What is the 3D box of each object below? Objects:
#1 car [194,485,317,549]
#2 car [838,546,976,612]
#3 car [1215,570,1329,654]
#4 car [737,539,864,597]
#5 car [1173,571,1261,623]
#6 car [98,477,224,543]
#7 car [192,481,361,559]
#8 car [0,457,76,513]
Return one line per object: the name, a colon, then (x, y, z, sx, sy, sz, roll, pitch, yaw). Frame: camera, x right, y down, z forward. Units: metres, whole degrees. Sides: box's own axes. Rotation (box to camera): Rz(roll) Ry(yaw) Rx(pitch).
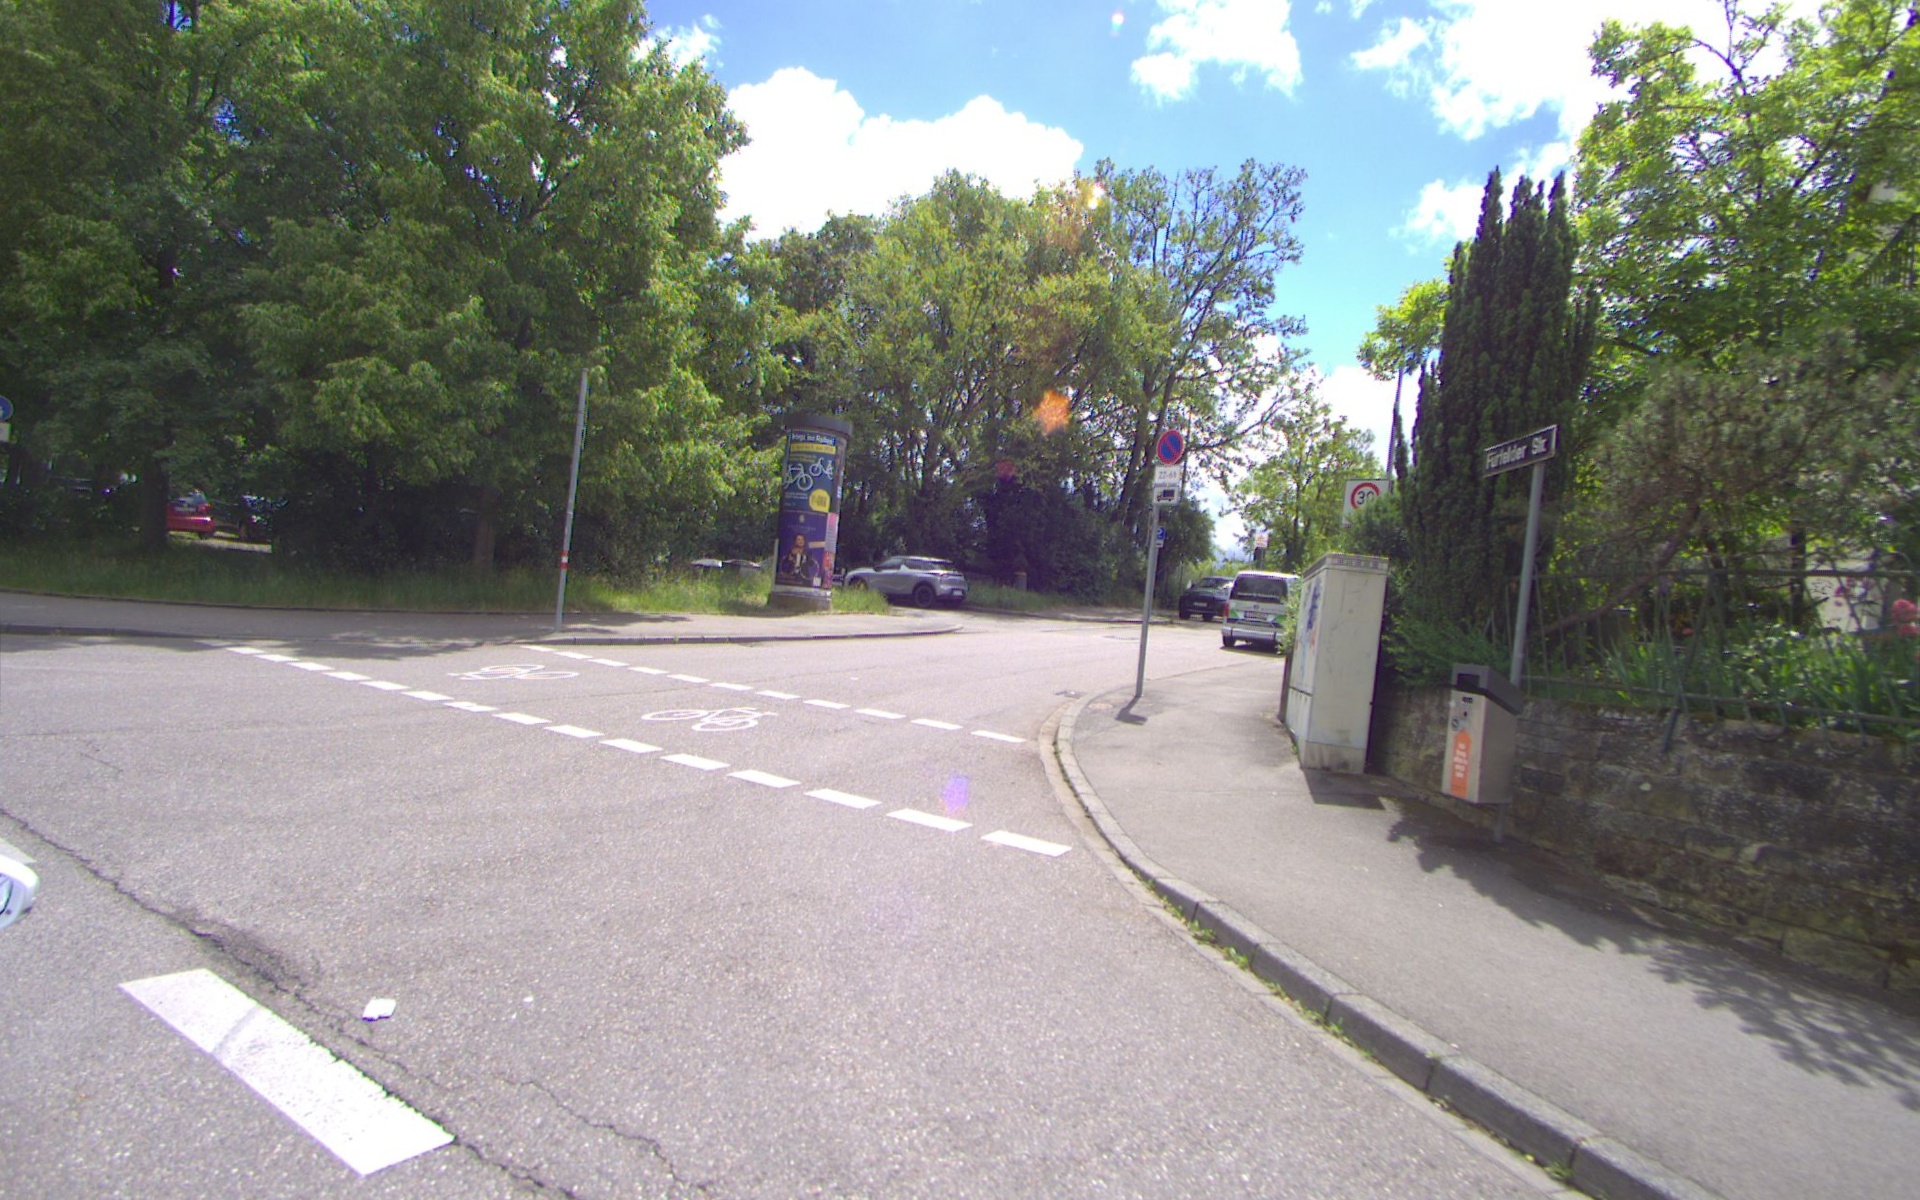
car: (-21.789, -2.580, 31.111, 3.602, 1.603, 1.753, 6, 1, 31)
car: (-1.658, -0.660, 31.123, 3.916, 1.606, 1.637, 7, 2, 30)
car: (7.618, 0.300, 24.335, 1.662, 1.740, 3.989, 7, 2, 30)
car: (-5.329, -1.075, 33.455, 3.916, 1.488, 1.637, 7, 2, 30)
car: (9.678, -0.066, 37.626, 1.966, 1.605, 4.317, 7, 1, 30)
car: (-23.004, -2.601, 28.943, 3.602, 1.520, 1.662, 6, 1, 31)
car: (-16.673, -1.945, 24.521, 3.749, 1.530, 1.827, 5, -1, 29)
car: (-30.224, -3.728, 32.265, 4.070, 1.535, 1.627, 6, 2, 31)
